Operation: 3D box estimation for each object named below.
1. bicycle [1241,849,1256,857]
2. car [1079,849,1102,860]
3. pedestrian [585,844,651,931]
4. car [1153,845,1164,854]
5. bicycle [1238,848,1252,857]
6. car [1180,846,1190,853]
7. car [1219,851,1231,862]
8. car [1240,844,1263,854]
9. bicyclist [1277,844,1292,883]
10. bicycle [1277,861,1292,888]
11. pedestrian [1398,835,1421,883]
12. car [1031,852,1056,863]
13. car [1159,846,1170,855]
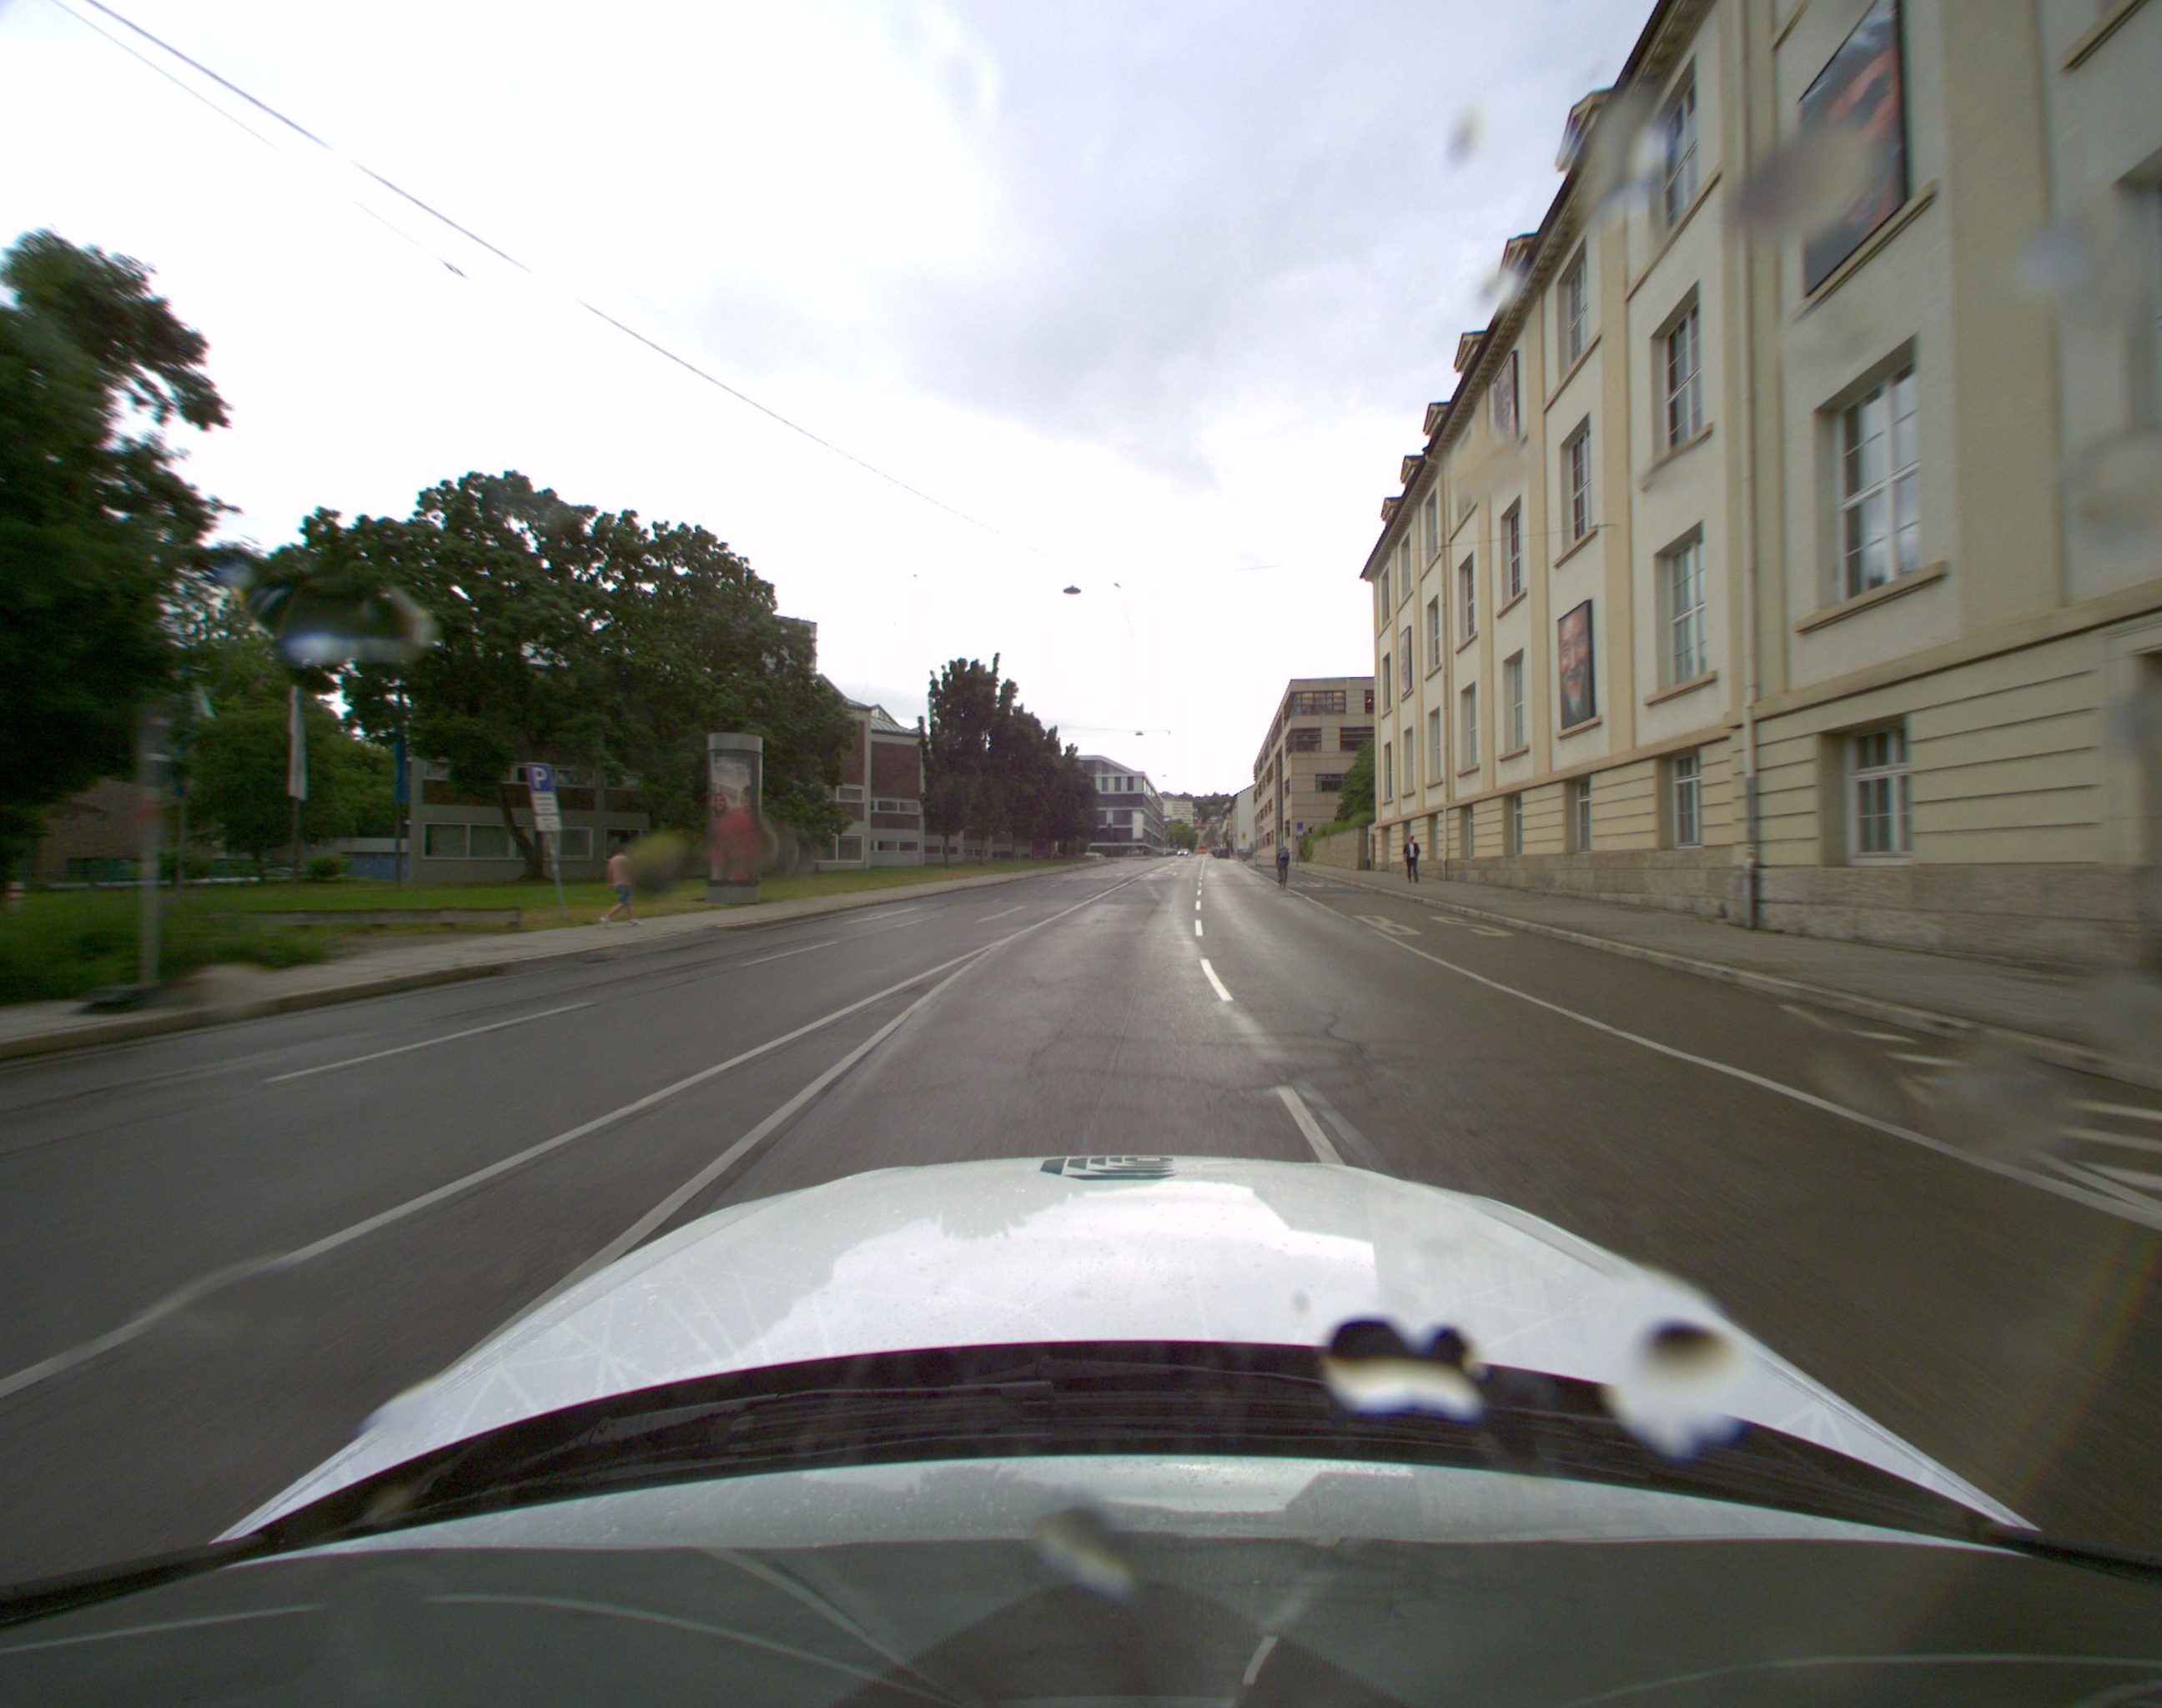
[{"bbox_3d":[20.981,-0.135,102.087,1.750,0.953,0.661,0,0,5],"label":"bicycle"},{"bbox_3d":[1.946,0.156,169.794,4.571,2.174,1.933,1,0,2],"label":"car"},{"bbox_3d":[-9.342,0.652,16.463,0.665,1.686,0.917,1,0,16],"label":"pedestrian"},{"bbox_3d":[14.859,-0.907,155.459,1.838,1.617,4.502,1,0,9],"label":"car"},{"bbox_3d":[20.783,-0.213,103.108,1.722,1.119,0.660,0,0,3],"label":"bicycle"},{"bbox_3d":[22.266,-0.940,174.427,1.869,1.491,5.236,-2,0,11],"label":"car"},{"bbox_3d":[22.257,0.414,125.990,1.761,1.604,4.403,1,0,7],"label":"car"},{"bbox_3d":[34.694,-0.991,166.159,4.413,1.713,1.909,-3,-1,8],"label":"car"},{"bbox_3d":[7.656,0.354,30.663,0.481,1.433,0.933,1,0,11],"label":"bicyclist"},{"bbox_3d":[7.666,0.751,30.664,0.444,0.963,1.695,0,1,11],"label":"bicycle"},{"bbox_3d":[12.635,0.188,31.334,0.666,1.798,0.854,1,0,10],"label":"pedestrian"},{"bbox_3d":[-6.219,0.561,135.769,3.880,1.816,1.940,1,0,11],"label":"car"},{"bbox_3d":[17.705,-0.706,172.110,1.950,1.750,4.957,1,0,11],"label":"car"}]
